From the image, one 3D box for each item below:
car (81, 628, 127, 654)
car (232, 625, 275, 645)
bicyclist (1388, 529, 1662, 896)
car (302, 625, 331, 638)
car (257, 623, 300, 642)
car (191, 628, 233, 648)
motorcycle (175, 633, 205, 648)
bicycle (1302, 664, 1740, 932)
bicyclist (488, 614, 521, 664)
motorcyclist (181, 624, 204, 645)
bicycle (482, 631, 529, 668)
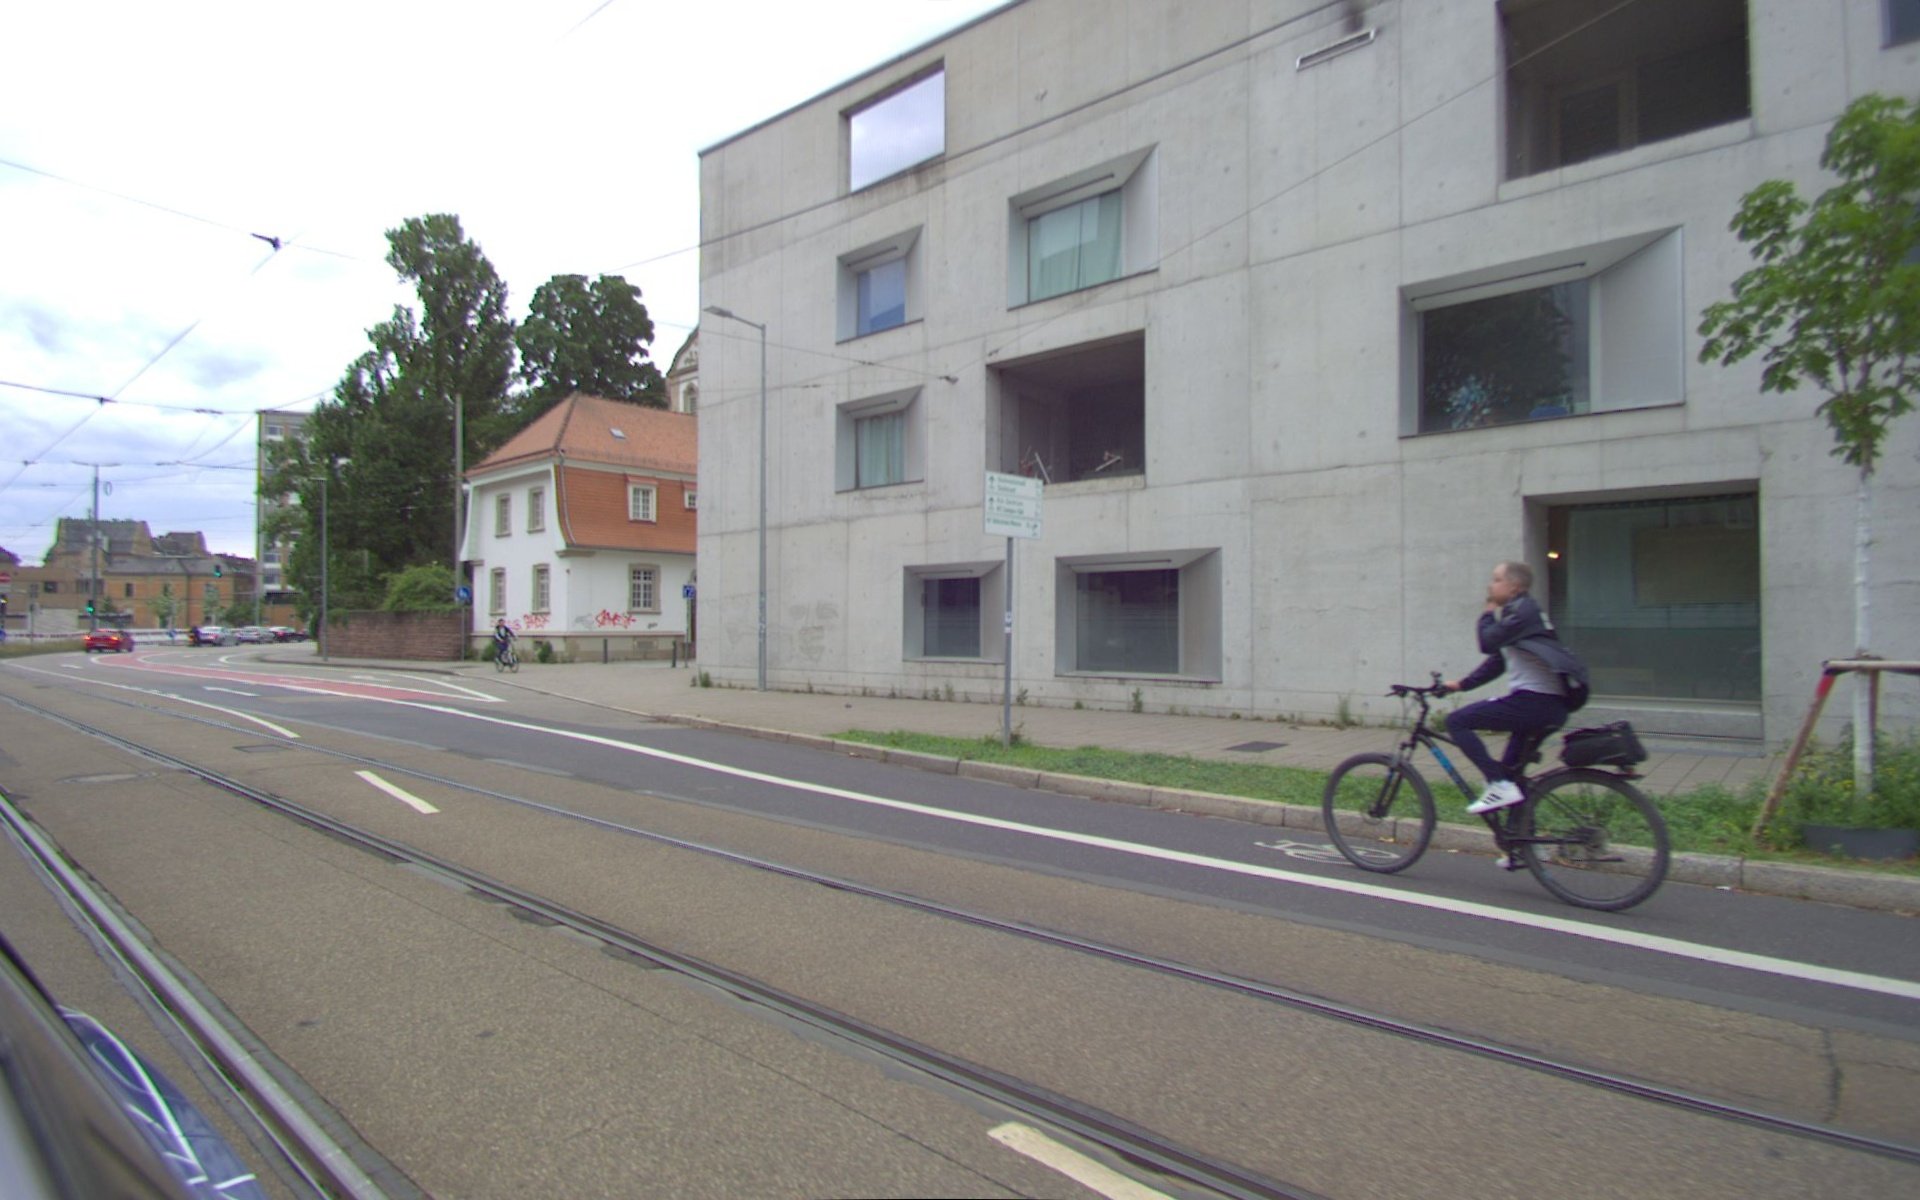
[{"bbox_3d":[-52.717,2.526,62.394,1.732,1.511,4.010,2,-3,-35],"label":"car"},{"bbox_3d":[-59.552,2.920,85.346,1.658,1.663,3.991,0,-1,-14],"label":"car"},{"bbox_3d":[3.137,0.583,5.670,0.782,1.797,1.148,5,-5,-43],"label":"bicyclist"},{"bbox_3d":[-61.801,3.046,97.192,1.400,1.180,3.078,0,-1,-12],"label":"car"},{"bbox_3d":[-61.149,2.905,90.881,1.757,1.623,4.336,0,-1,-14],"label":"car"},{"bbox_3d":[-57.513,2.907,77.893,1.469,1.520,3.479,0,-1,-16],"label":"car"},{"bbox_3d":[-56.194,2.939,73.904,1.038,1.077,2.657,0,-1,-21],"label":"motorcycle"},{"bbox_3d":[3.059,0.987,5.714,0.782,1.195,2.013,5,-5,-42],"label":"bicycle"},{"bbox_3d":[-15.549,1.324,34.549,0.868,1.703,0.765,-2,-2,42],"label":"bicyclist"},{"bbox_3d":[-56.367,2.507,74.355,1.058,1.497,1.255,0,-2,-23],"label":"motorcyclist"},{"bbox_3d":[-15.504,1.680,34.511,1.868,1.221,0.765,-2,-2,42],"label":"bicycle"}]
